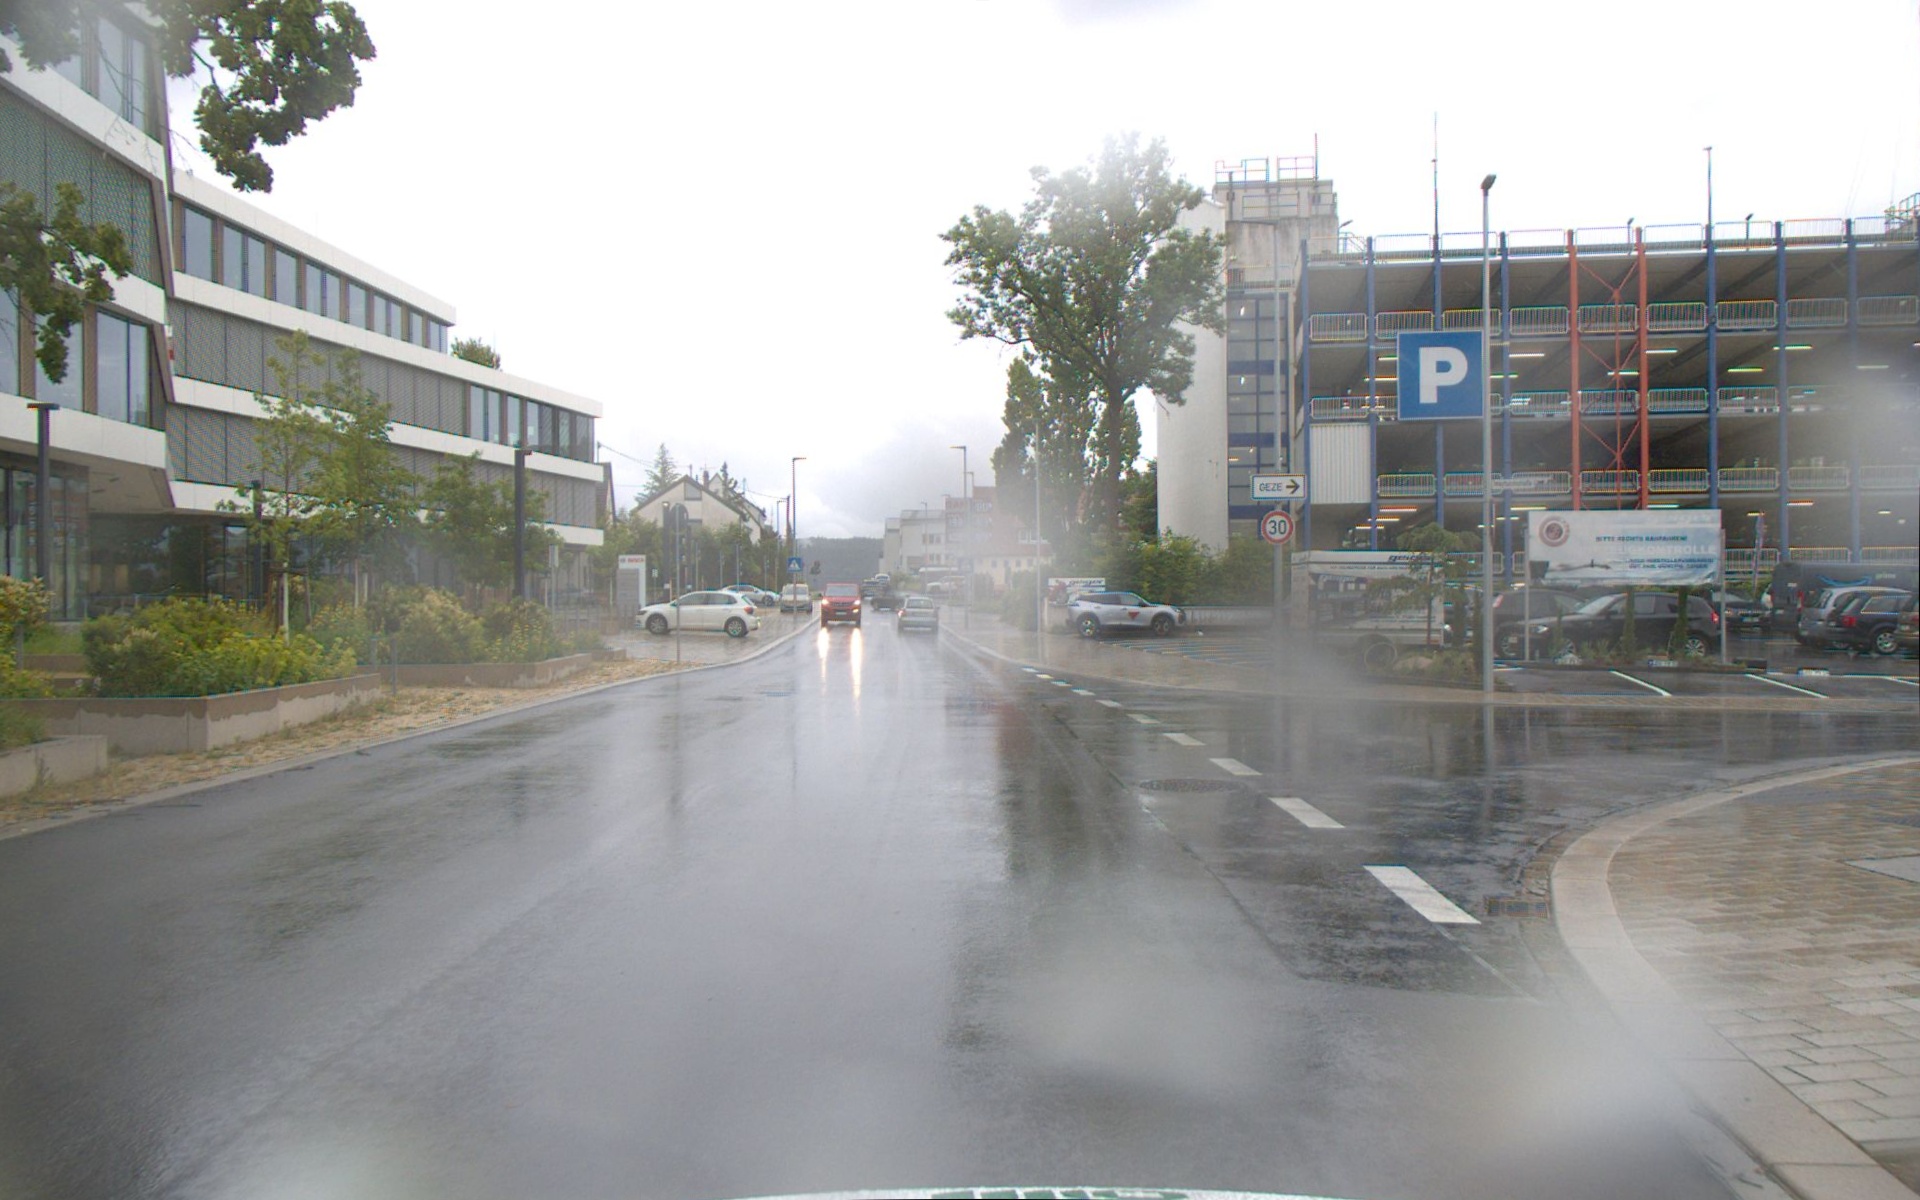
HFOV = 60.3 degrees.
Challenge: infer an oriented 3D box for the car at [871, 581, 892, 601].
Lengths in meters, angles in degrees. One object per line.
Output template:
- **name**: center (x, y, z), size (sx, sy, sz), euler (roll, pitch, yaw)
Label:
- **car**: center (-7.851, -0.855, 164.332), size (1.954, 1.736, 3.997), euler (4, -2, -3)

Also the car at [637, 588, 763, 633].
- **car**: center (-8.407, 0.336, 53.744), size (3.849, 1.448, 1.897), euler (0, 0, -3)

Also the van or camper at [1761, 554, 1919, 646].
- **van or camper**: center (24.749, -0.026, 44.952), size (4.850, 2.366, 2.224), euler (-1, 0, 4)

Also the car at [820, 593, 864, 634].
- **car**: center (-5.556, 0.609, 77.927), size (1.963, 1.849, 4.975), euler (0, 0, -4)

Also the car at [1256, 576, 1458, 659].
- **car**: center (8.049, 0.360, 33.699), size (3.652, 1.555, 1.649), euler (-1, -1, -4)

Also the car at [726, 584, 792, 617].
- **car**: center (-14.683, 0.067, 120.860), size (4.664, 2.049, 1.996), euler (4, -2, -8)

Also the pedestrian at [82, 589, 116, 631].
- **pedestrian**: center (-28.524, 0.335, 54.774), size (0.886, 1.337, 1.051), euler (5, -2, -30)

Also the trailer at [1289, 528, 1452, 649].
- **trailer**: center (7.662, -0.205, 31.015), size (2.647, 2.209, 1.548), euler (0, 0, -1)

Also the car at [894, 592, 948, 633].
- **car**: center (-1.678, 0.558, 70.213), size (1.911, 1.583, 3.995), euler (4, -2, -6)

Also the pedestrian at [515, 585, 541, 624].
- **pedestrian**: center (-19.220, 0.195, 73.607), size (0.994, 1.754, 0.771), euler (1, 0, -6)

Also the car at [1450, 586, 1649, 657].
- **car**: center (12.656, 0.450, 35.610), size (3.654, 1.474, 1.728), euler (0, 0, -7)

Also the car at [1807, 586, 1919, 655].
- **car**: center (23.386, 0.475, 40.544), size (4.263, 1.611, 1.866), euler (-1, 0, 6)

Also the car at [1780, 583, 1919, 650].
- **car**: center (23.790, 0.401, 42.706), size (4.263, 1.611, 1.866), euler (-1, 0, 6)

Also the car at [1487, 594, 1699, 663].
- **car**: center (12.767, 0.559, 33.467), size (3.654, 1.338, 1.690), euler (0, 0, -7)

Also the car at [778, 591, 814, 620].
- **car**: center (-9.772, 0.305, 98.629), size (1.954, 1.657, 4.150), euler (0, 1, -3)

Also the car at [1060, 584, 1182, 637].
- **car**: center (5.616, 0.372, 57.518), size (4.118, 1.678, 2.001), euler (-2, 0, 6)

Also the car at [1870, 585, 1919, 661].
- **car**: center (23.406, 0.477, 37.899), size (4.039, 1.696, 1.866), euler (-1, 0, 6)

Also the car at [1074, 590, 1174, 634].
- **car**: center (5.950, 0.445, 60.166), size (3.544, 1.521, 1.807), euler (-1, 0, 6)

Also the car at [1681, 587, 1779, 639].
- **car**: center (26.119, 0.469, 56.202), size (1.852, 1.512, 4.002), euler (3, -2, 8)

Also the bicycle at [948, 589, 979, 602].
- **bicycle**: center (0.279, -0.410, 142.394), size (0.663, 1.085, 3.585), euler (5, -2, -34)

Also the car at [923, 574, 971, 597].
- **car**: center (-1.163, -1.278, 148.932), size (4.034, 1.736, 1.786), euler (4, -2, -7)

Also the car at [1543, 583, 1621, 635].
- **car**: center (21.437, 0.274, 57.131), size (1.693, 1.708, 4.004), euler (-1, 0, 9)

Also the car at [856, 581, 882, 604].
- **car**: center (-7.820, -0.660, 142.763), size (2.111, 1.736, 3.997), euler (4, -2, -3)
